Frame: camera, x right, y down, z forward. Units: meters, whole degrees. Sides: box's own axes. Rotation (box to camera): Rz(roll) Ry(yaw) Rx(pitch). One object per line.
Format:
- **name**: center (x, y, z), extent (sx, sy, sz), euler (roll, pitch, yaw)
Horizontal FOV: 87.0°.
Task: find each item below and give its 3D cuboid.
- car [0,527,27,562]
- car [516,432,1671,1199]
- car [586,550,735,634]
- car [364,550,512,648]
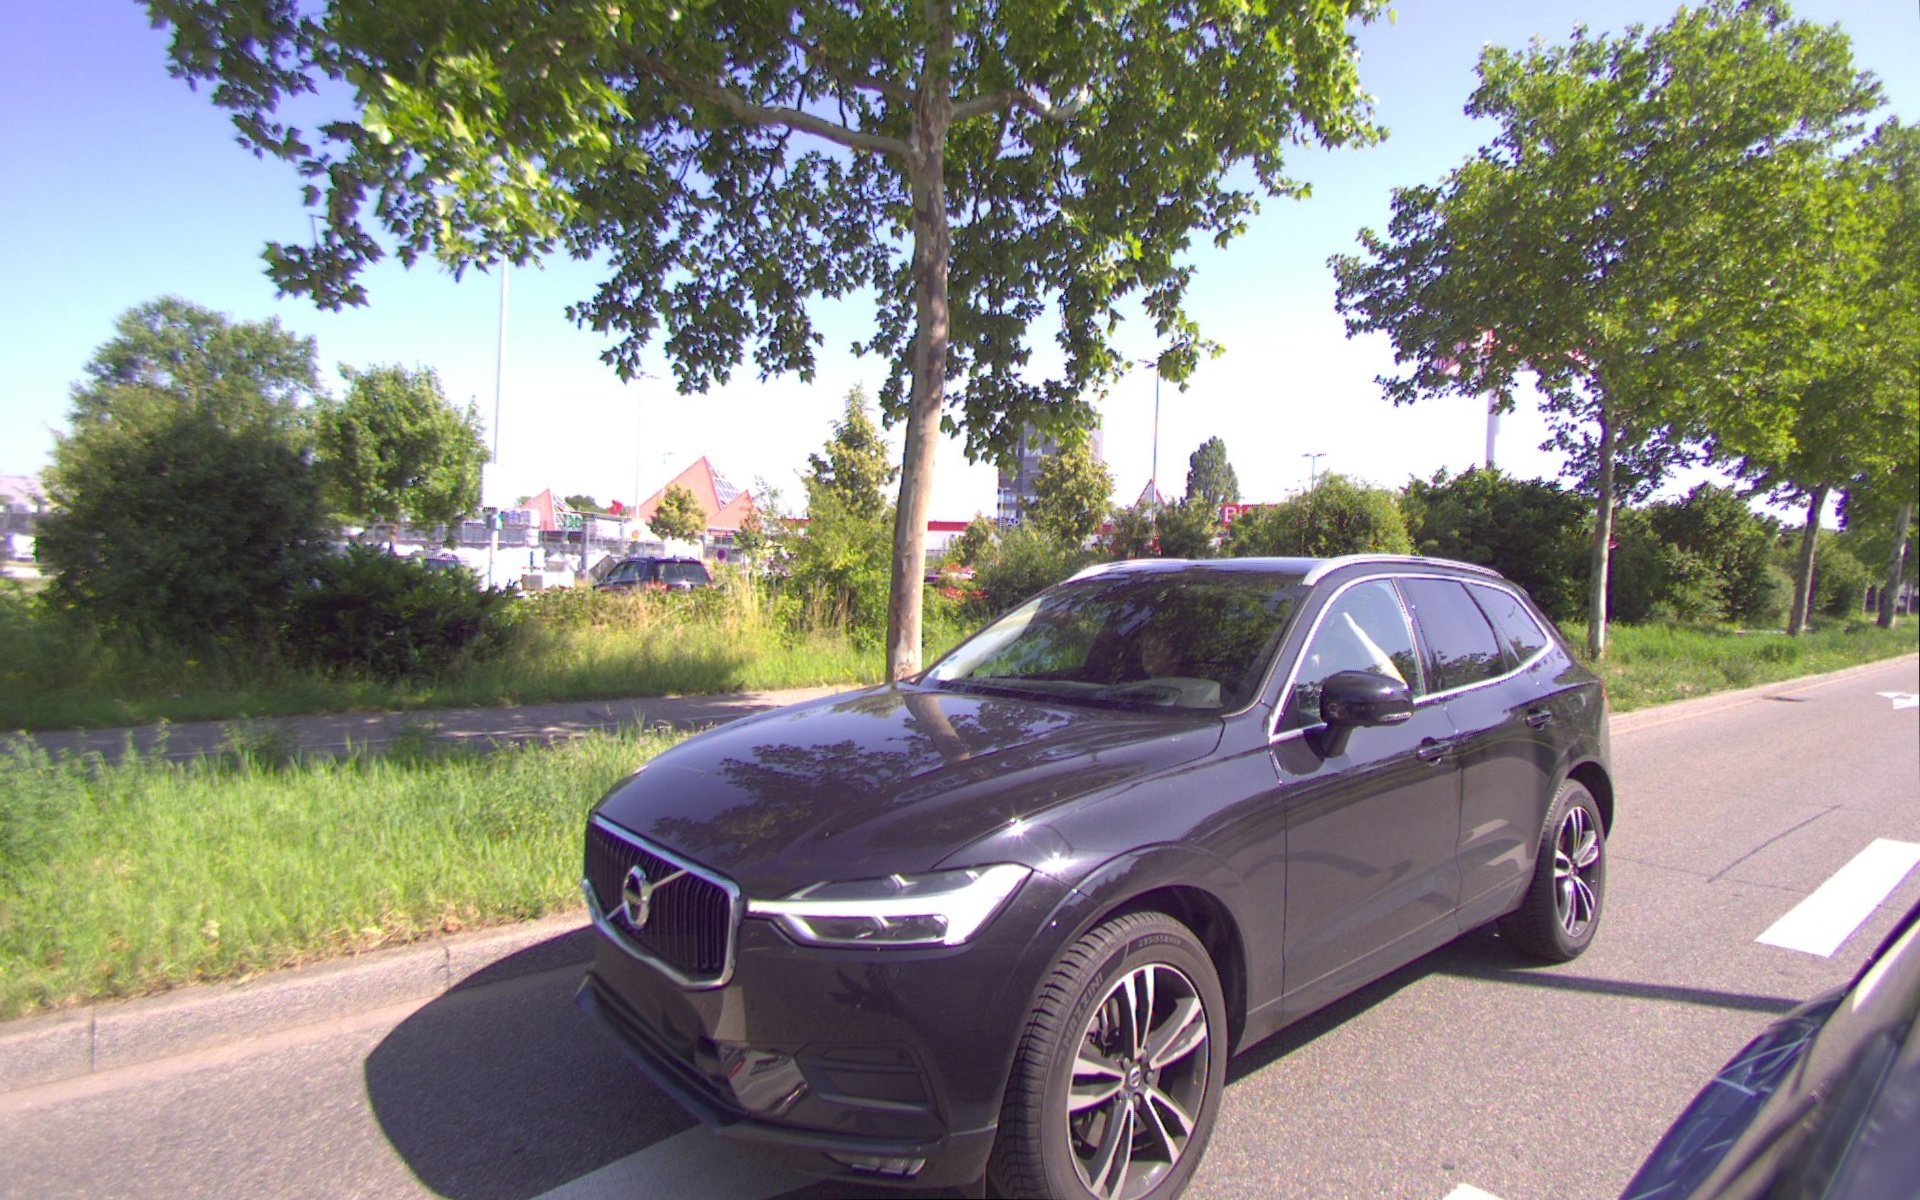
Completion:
- **car**: center (-57.430, -3.279, 58.852), extent (1.971, 2.039, 4.370), euler (0, 1, 14)
- **car**: center (0.933, 0.515, 3.878), extent (4.485, 1.642, 1.922), euler (0, 1, -41)
- **car**: center (-6.689, -0.193, 22.453), extent (3.548, 1.717, 1.692), euler (1, 1, 45)
- **car**: center (-10.179, -0.049, 19.620), extent (1.690, 1.717, 3.552), euler (0, 1, -42)
